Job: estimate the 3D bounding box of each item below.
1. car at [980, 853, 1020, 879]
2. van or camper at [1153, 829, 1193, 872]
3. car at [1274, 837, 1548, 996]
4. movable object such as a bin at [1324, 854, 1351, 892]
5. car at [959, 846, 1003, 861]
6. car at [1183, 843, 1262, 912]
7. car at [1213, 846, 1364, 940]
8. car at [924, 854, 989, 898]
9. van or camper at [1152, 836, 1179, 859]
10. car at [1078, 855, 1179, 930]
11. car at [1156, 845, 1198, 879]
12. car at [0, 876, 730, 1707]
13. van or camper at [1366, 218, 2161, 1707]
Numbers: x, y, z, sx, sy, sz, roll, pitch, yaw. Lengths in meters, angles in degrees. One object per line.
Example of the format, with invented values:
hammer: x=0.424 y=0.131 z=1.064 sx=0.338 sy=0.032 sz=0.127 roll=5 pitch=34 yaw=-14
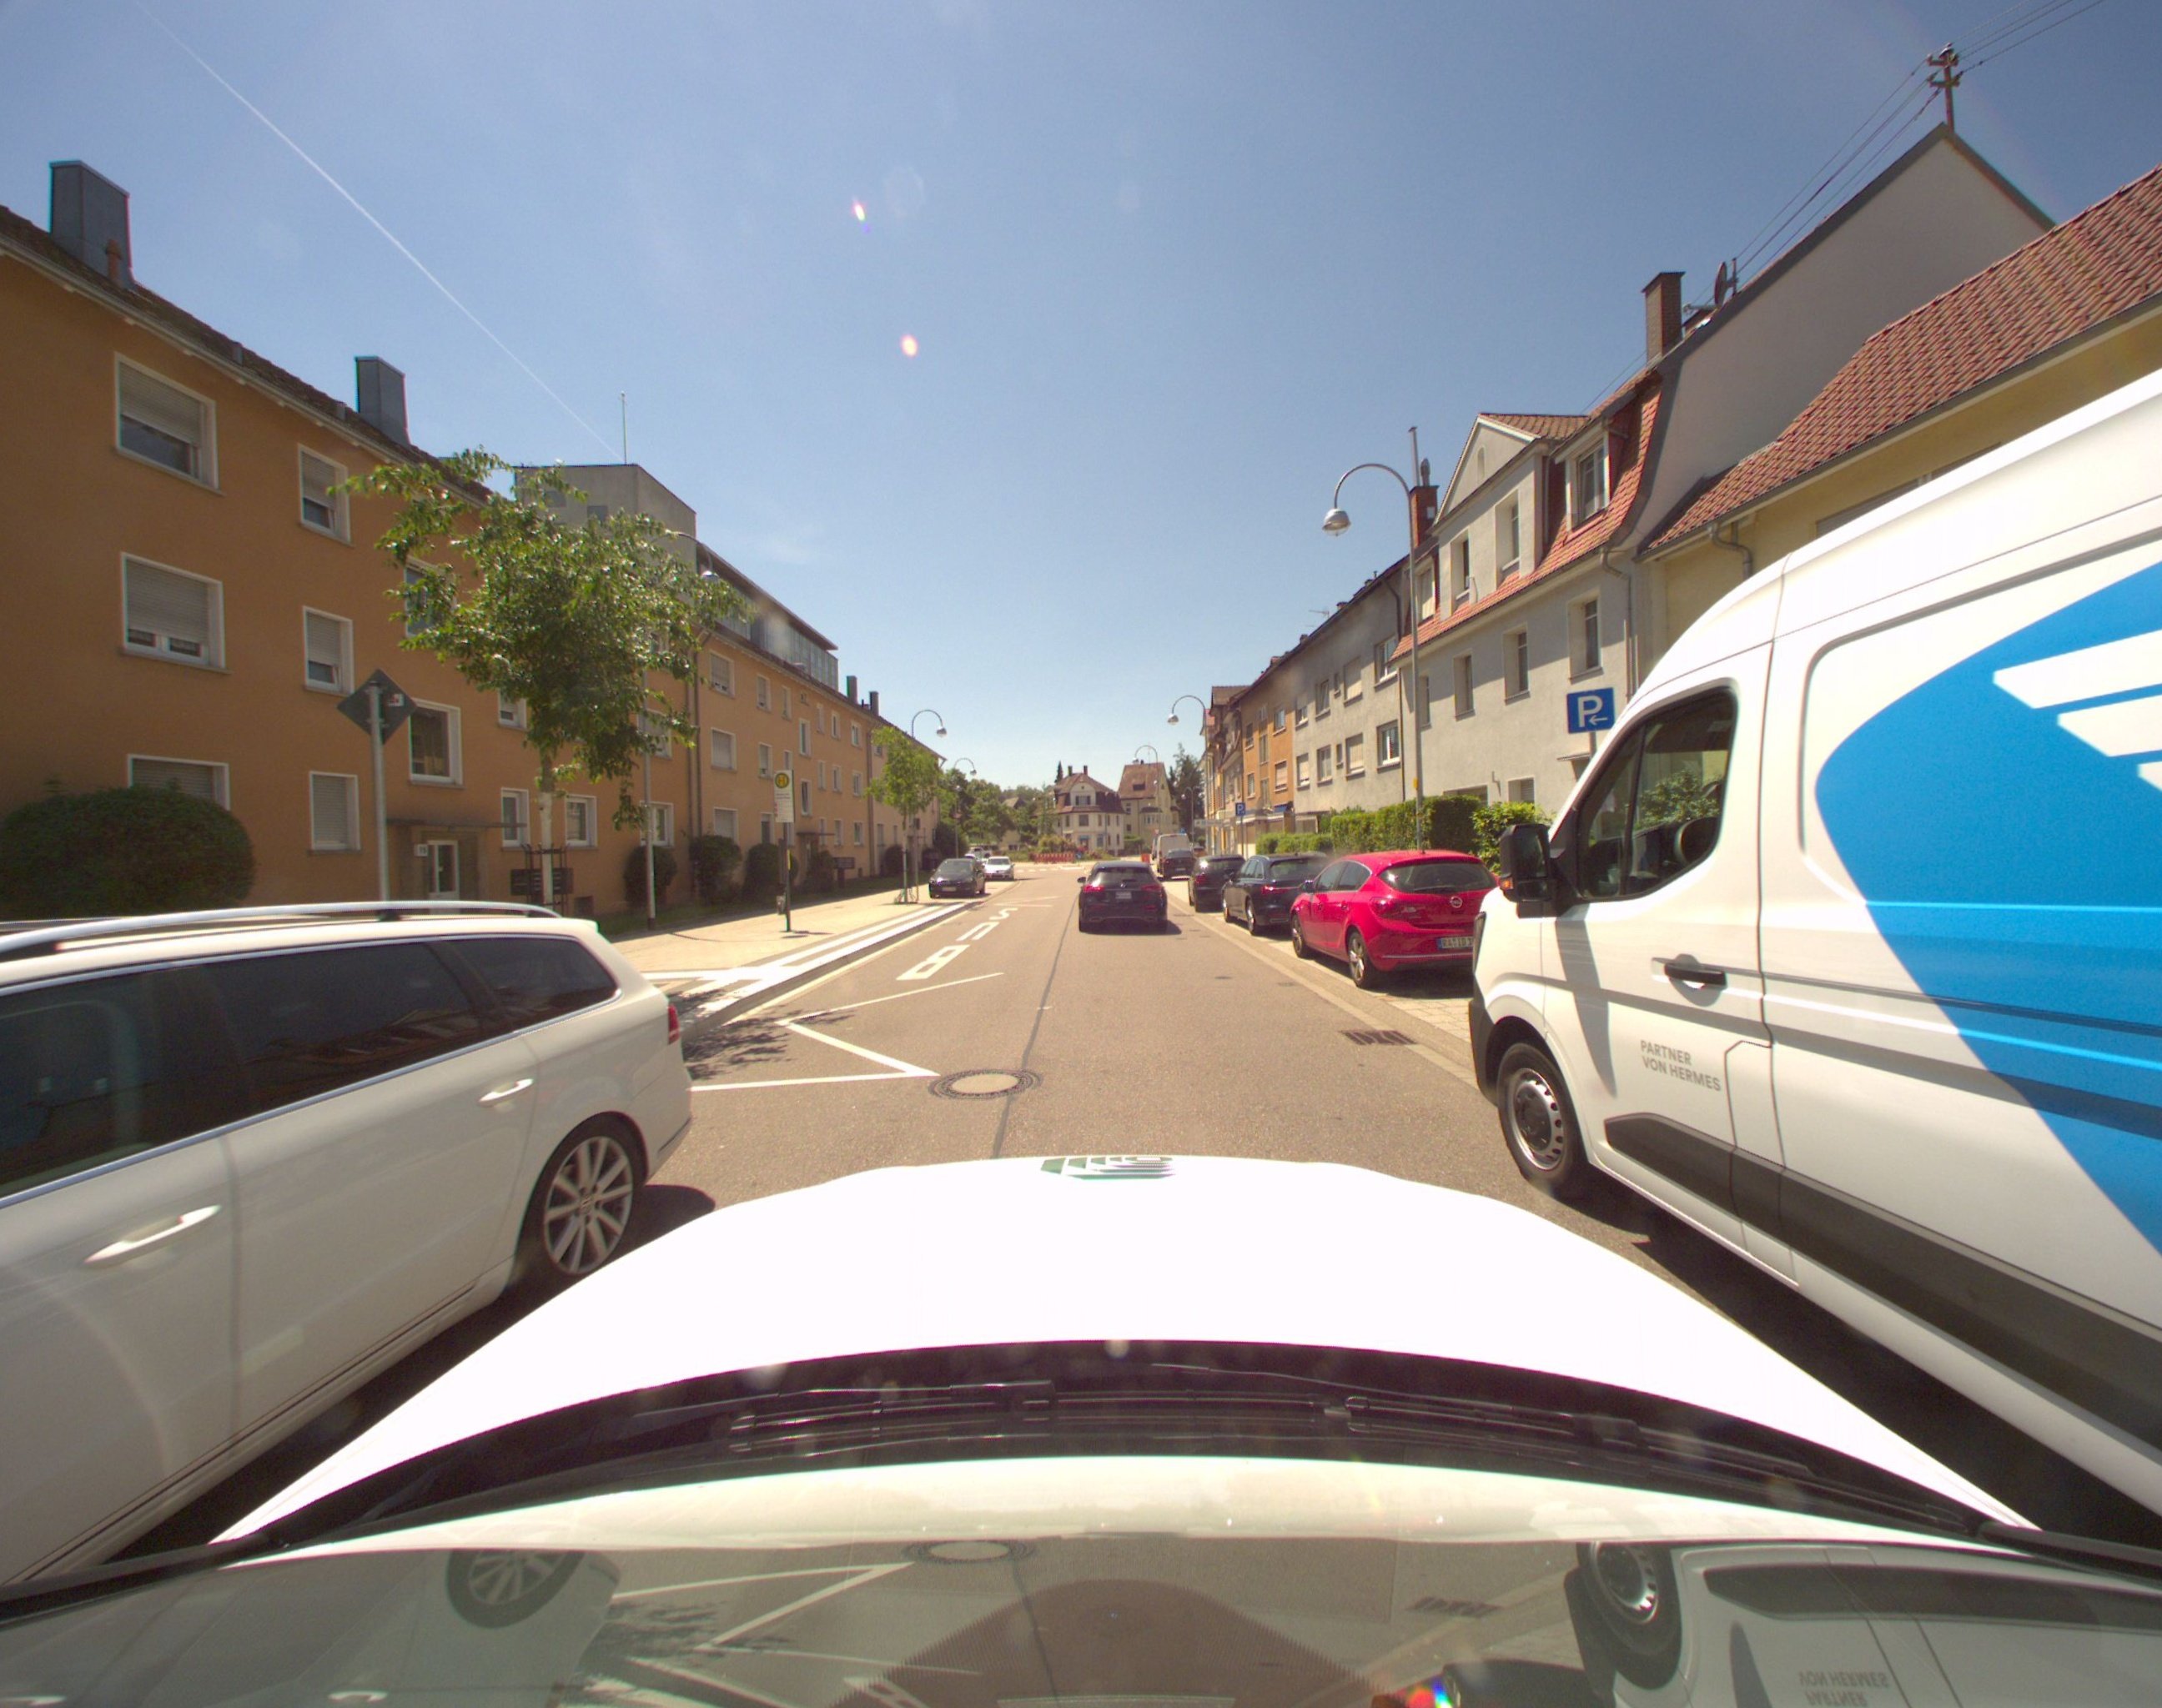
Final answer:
car: x=-4.831 y=0.690 z=49.129 sx=1.987 sy=1.420 sz=4.088 roll=-2 pitch=0 yaw=0
van or camper: x=6.046 y=-0.247 z=54.189 sx=2.156 sy=2.588 sz=5.770 roll=-3 pitch=0 yaw=3
car: x=3.891 y=0.625 z=10.459 sx=1.797 sy=1.530 sz=4.151 roll=-3 pitch=0 yaw=1
movable object such as a bin: x=7.534 y=0.554 z=23.955 sx=0.551 sy=1.085 sz=0.776 roll=-2 pitch=0 yaw=2
car: x=-12.492 y=-0.126 z=101.932 sx=1.975 sy=1.816 sz=5.453 roll=1 pitch=1 yaw=42
car: x=3.830 y=0.563 z=22.617 sx=1.720 sy=1.633 sz=4.006 roll=-4 pitch=1 yaw=5
car: x=3.947 y=0.652 z=16.360 sx=1.797 sy=1.475 sz=4.721 roll=-5 pitch=0 yaw=1
car: x=-4.861 y=0.816 z=32.492 sx=1.851 sy=1.506 sz=4.562 roll=-2 pitch=1 yaw=0
van or camper: x=9.700 y=-0.742 z=93.582 sx=2.187 sy=2.610 sz=4.020 roll=-1 pitch=1 yaw=19
car: x=0.982 y=0.766 z=17.730 sx=1.946 sy=1.427 sz=4.001 roll=0 pitch=-1 yaw=2
car: x=5.089 y=0.368 z=42.755 sx=1.883 sy=1.607 sz=4.377 roll=-3 pitch=0 yaw=10
car: x=-2.839 y=0.923 z=1.854 sx=1.985 sy=1.507 sz=4.292 roll=-2 pitch=1 yaw=3
van or camper: x=2.806 y=0.211 z=2.151 sx=2.100 sy=2.467 sz=6.181 roll=-3 pitch=0 yaw=3
